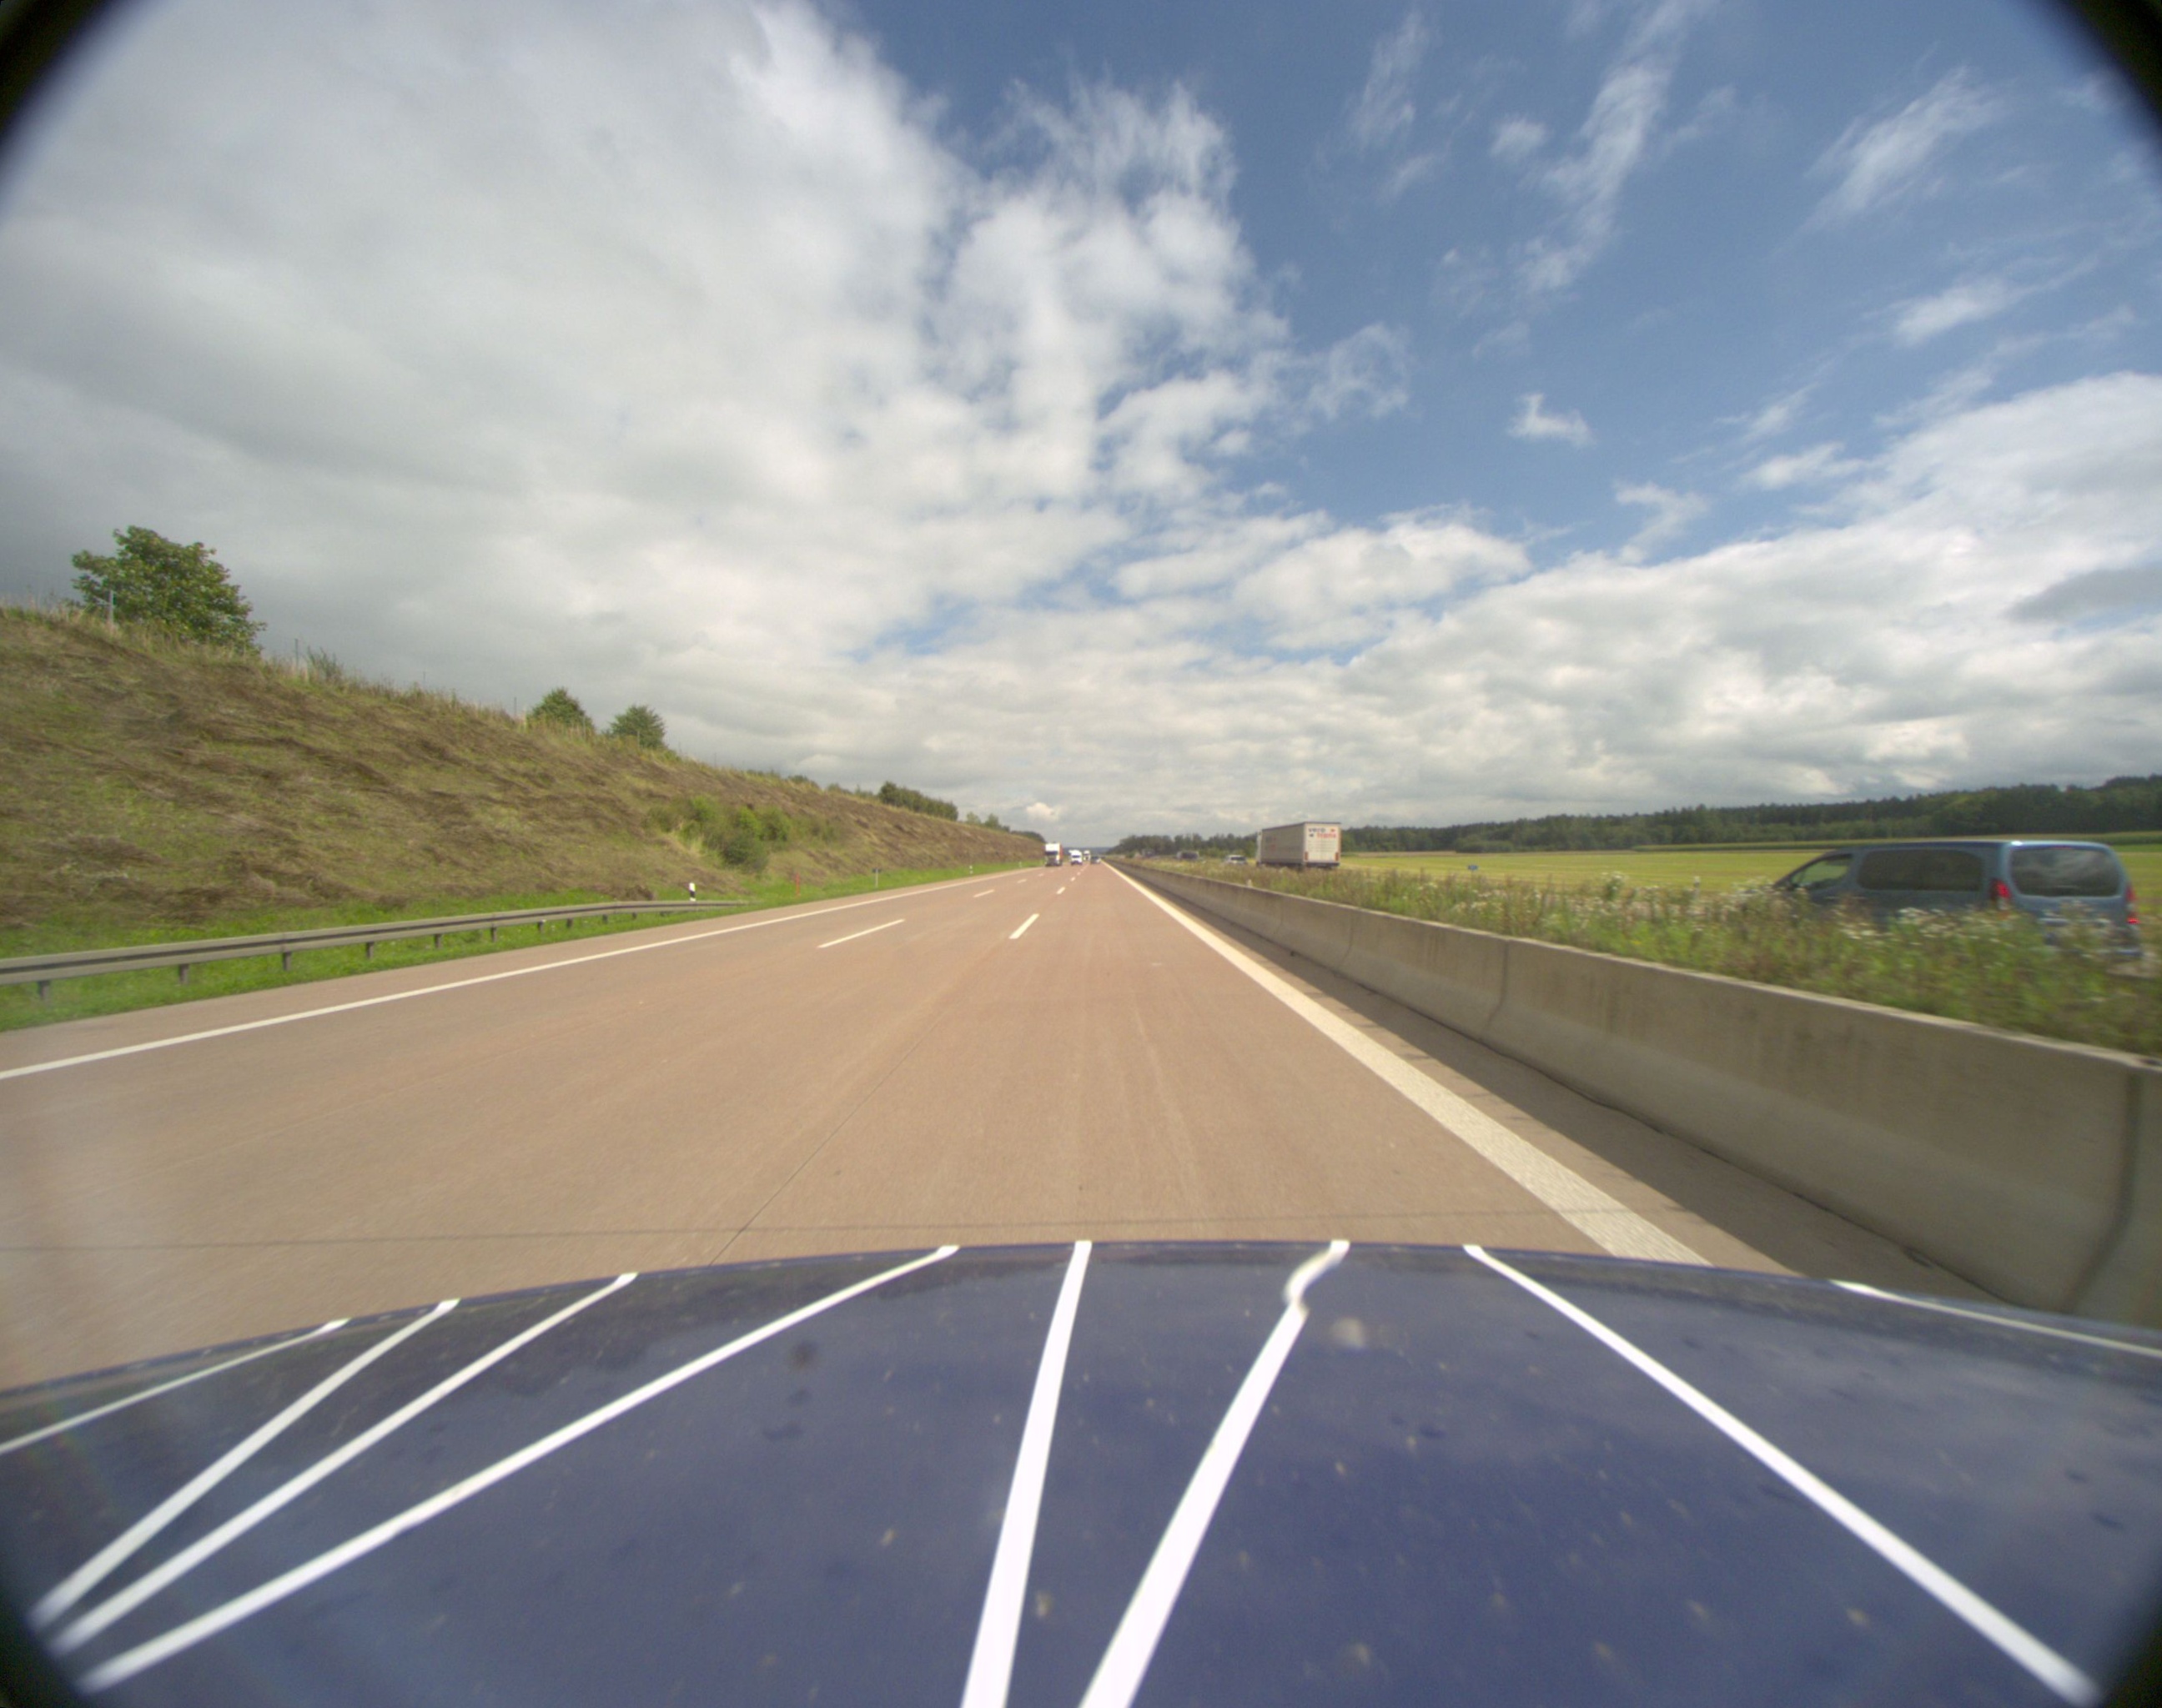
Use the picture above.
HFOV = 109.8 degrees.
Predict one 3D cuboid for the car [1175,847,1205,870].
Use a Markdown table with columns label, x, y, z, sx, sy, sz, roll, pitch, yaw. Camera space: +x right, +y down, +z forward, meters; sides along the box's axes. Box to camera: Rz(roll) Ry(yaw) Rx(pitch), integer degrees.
| label | x | y | z | sx | sy | sz | roll | pitch | yaw |
| --- | --- | --- | --- | --- | --- | --- | --- | --- | --- |
| car | 9.955 | 0.358 | 70.003 | 1.998 | 2.002 | 5.246 | 1 | 0 | 0 |

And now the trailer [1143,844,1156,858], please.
| label | x | y | z | sx | sy | sz | roll | pitch | yaw |
| --- | --- | --- | --- | --- | --- | --- | --- | --- | --- |
| trailer | 21.126 | -0.894 | 236.102 | 2.777 | 3.936 | 14.330 | -1 | 0 | 1 |

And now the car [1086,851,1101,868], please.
| label | x | y | z | sx | sy | sz | roll | pitch | yaw |
| --- | --- | --- | --- | --- | --- | --- | --- | --- | --- |
| car | 2.688 | 1.094 | 157.413 | 2.773 | 3.260 | 6.393 | -3 | 0 | 2 |

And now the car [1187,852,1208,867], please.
| label | x | y | z | sx | sy | sz | roll | pitch | yaw |
| --- | --- | --- | --- | --- | --- | --- | --- | --- | --- |
| car | 14.172 | 0.696 | 92.484 | 1.777 | 1.738 | 4.471 | -3 | 0 | 0 |

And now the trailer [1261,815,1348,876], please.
| label | x | y | z | sx | sy | sz | roll | pitch | yaw |
| --- | --- | --- | --- | --- | --- | --- | --- | --- | --- |
| trailer | 17.114 | -0.588 | 59.517 | 3.215 | 4.074 | 13.260 | -3 | 0 | 2 |

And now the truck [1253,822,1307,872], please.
| label | x | y | z | sx | sy | sz | roll | pitch | yaw |
| --- | --- | --- | --- | --- | --- | --- | --- | --- | --- |
| truck | 17.393 | -0.599 | 66.867 | 3.214 | 4.074 | 6.127 | -3 | 0 | 2 |

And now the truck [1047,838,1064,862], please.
| label | x | y | z | sx | sy | sz | roll | pitch | yaw |
| --- | --- | --- | --- | --- | --- | --- | --- | --- | --- |
| truck | -4.554 | -0.668 | 138.113 | 2.681 | 4.081 | 6.616 | -2 | 0 | 1 |

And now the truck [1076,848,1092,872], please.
| label | x | y | z | sx | sy | sz | roll | pitch | yaw |
| --- | --- | --- | --- | --- | --- | --- | --- | --- | --- |
| truck | 0.642 | 1.211 | 146.856 | 2.681 | 4.333 | 11.809 | -3 | 0 | 1 |

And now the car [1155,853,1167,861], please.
| label | x | y | z | sx | sy | sz | roll | pitch | yaw |
| --- | --- | --- | --- | --- | --- | --- | --- | --- | --- |
| car | 16.304 | 0.627 | 155.337 | 1.999 | 1.499 | 4.273 | 0 | 0 | -2 |

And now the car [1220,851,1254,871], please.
| label | x | y | z | sx | sy | sz | roll | pitch | yaw |
| --- | --- | --- | --- | --- | --- | --- | --- | --- | --- |
| car | 13.689 | 0.570 | 66.999 | 1.998 | 1.648 | 4.784 | 0 | 0 | 0 |

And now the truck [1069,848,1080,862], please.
| label | x | y | z | sx | sy | sz | roll | pitch | yaw |
| --- | --- | --- | --- | --- | --- | --- | --- | --- | --- |
| truck | -2.013 | 0.360 | 243.113 | 3.107 | 4.333 | 11.257 | -3 | 0 | 1 |

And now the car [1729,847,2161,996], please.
| label | x | y | z | sx | sy | sz | roll | pitch | yaw |
| --- | --- | --- | --- | --- | --- | --- | --- | --- | --- |
| car | 12.021 | 0.772 | 10.799 | 1.998 | 1.689 | 4.256 | 0 | 0 | 1 |
